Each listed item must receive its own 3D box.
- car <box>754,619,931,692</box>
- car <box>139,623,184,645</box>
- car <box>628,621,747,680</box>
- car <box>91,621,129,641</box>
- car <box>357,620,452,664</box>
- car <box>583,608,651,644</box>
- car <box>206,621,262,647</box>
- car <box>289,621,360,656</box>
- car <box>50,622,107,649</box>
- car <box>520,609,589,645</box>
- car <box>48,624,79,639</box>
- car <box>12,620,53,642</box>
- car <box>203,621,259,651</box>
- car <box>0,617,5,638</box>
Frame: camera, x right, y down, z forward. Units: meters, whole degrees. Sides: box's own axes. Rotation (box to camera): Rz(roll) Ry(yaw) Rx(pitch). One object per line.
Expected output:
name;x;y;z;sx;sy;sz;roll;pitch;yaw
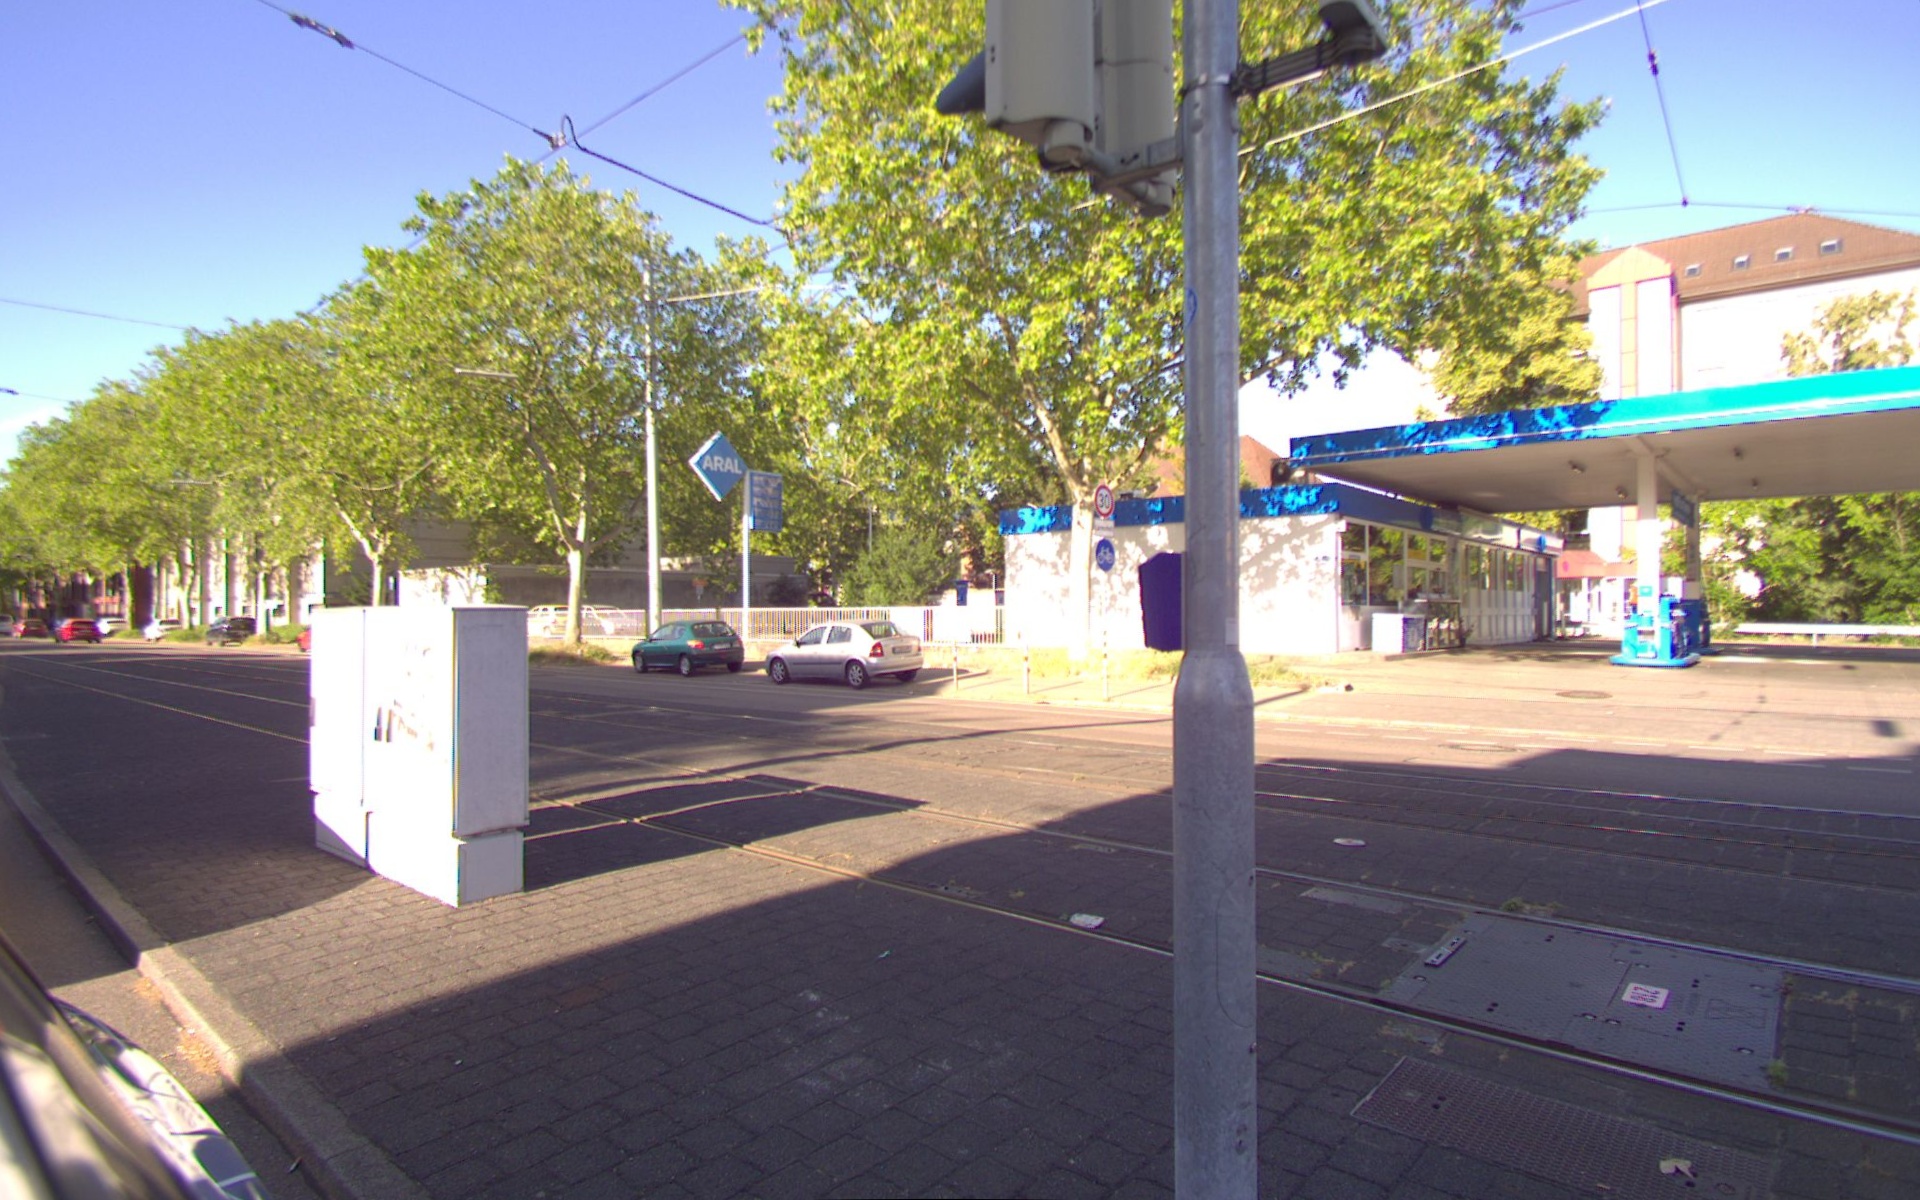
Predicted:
car;-2.687;1.166;22.636;3.998;1.431;1.709;-1;0;41
car;-53.816;2.288;68.201;3.998;1.420;1.678;-1;-2;41
car;-7.273;1.301;26.905;3.253;1.431;1.526;-1;0;41
car;-66.818;2.412;79.549;3.998;1.569;1.678;-1;-2;41
car;-22.091;1.622;40.153;4.431;1.534;1.731;-1;3;40
car;-14.778;1.096;43.539;3.151;1.431;1.525;-1;0;44
car;-40.607;1.886;56.577;3.998;1.420;1.678;-1;-2;41
car;-29.081;1.737;46.276;3.998;1.480;1.678;0;-1;41
car;-53.555;2.145;61.485;4.761;1.534;1.887;-1;-2;40
car;-16.857;1.096;41.992;3.151;1.431;1.525;-1;0;44
car;-85.188;2.970;96.166;3.998;1.420;1.678;-1;-2;41
car;-70.516;2.358;76.925;3.998;1.431;1.678;-1;-8;41
car;-40.742;1.979;56.537;3.998;1.587;1.678;-1;-2;41
car;-87.954;2.495;91.491;4.390;1.860;1.827;-1;-2;39
